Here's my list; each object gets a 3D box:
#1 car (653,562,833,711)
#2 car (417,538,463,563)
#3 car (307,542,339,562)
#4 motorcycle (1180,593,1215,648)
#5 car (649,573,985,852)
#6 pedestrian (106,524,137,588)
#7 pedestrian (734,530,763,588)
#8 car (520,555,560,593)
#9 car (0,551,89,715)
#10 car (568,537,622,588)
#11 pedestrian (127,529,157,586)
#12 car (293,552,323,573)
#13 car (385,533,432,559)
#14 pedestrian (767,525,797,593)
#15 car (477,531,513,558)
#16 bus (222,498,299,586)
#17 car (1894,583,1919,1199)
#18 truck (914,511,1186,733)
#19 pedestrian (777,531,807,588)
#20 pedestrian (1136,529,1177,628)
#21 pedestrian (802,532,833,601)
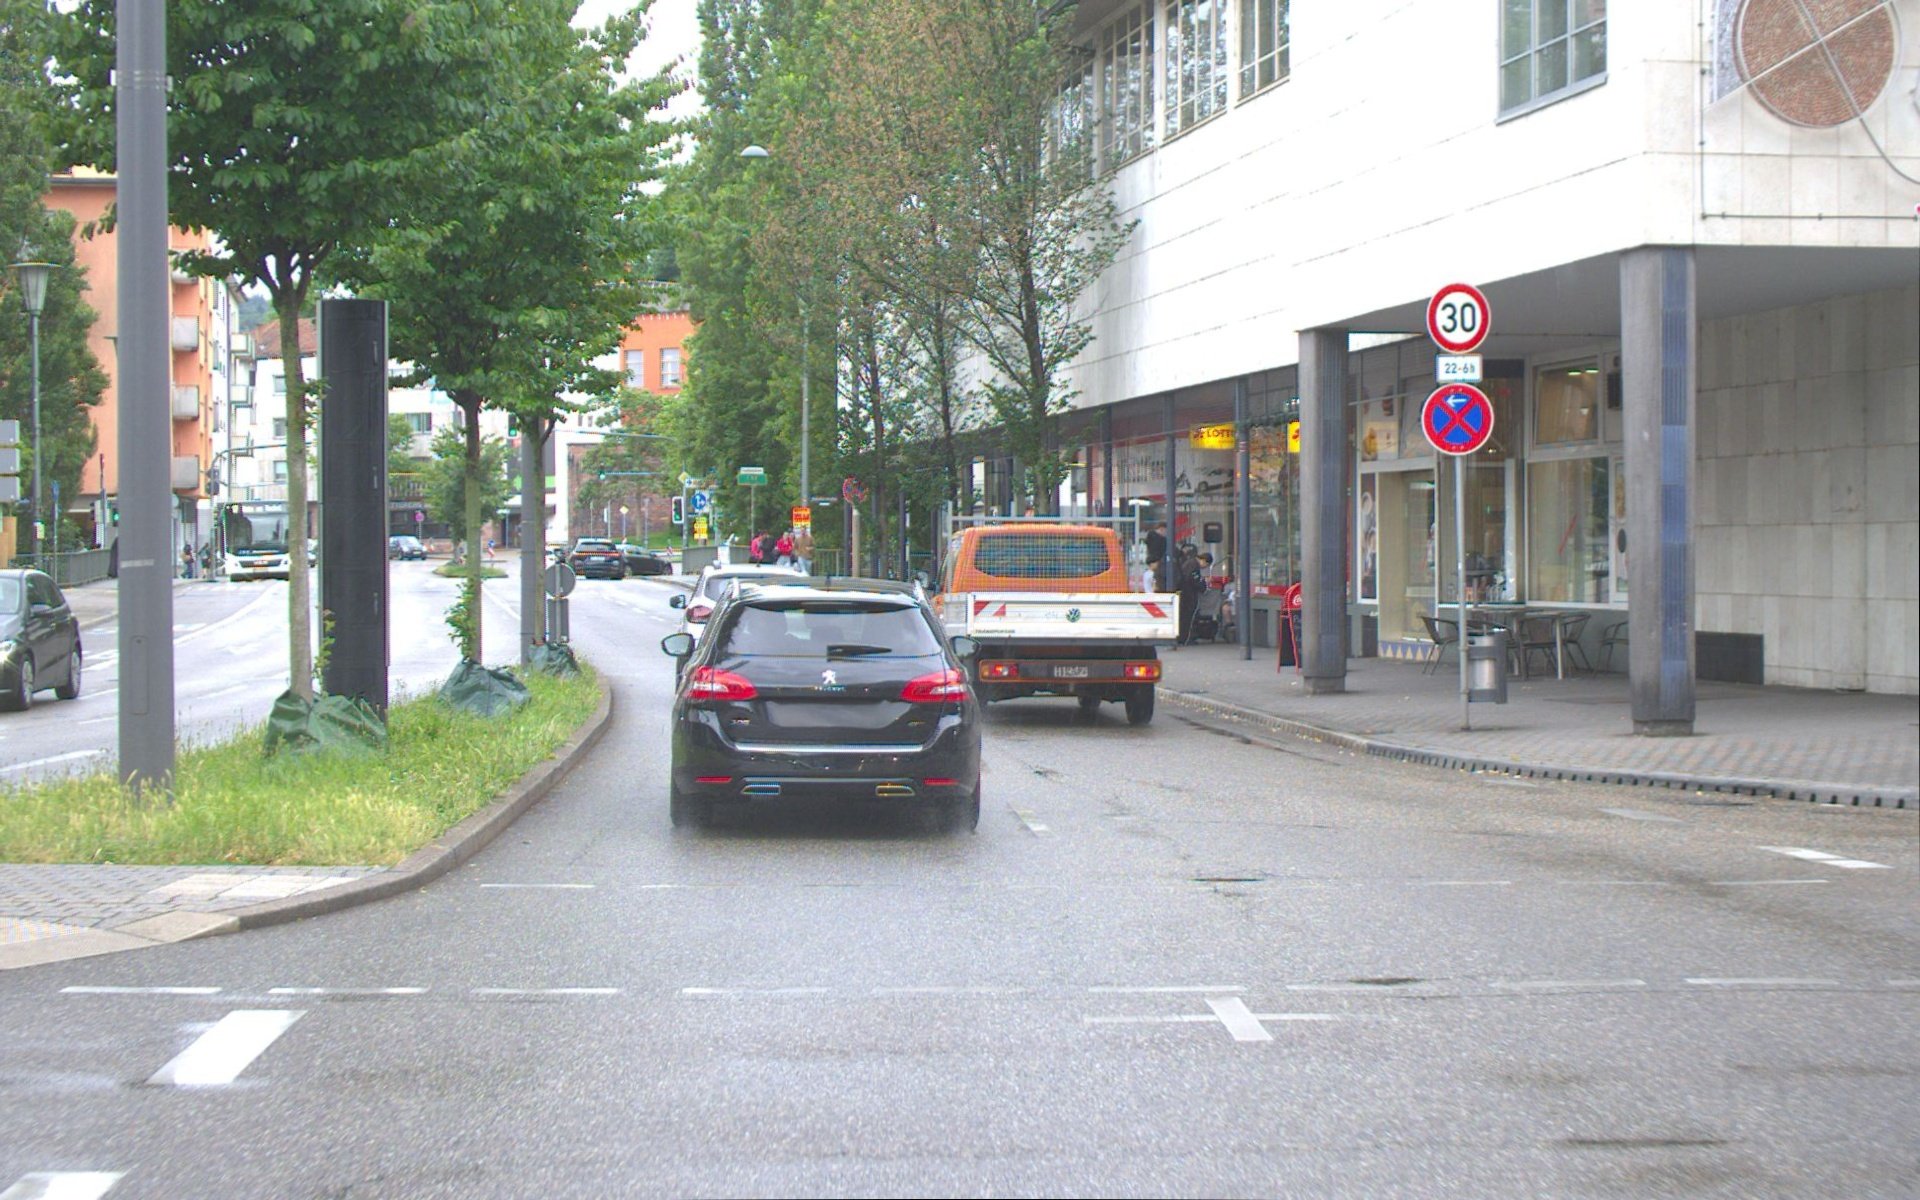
[{"bbox_3d":[-2.305,0.345,36.442,1.794,1.478,4.001,0,1,-4],"label":"car"},{"bbox_3d":[-35.127,-3.325,232.320,1.645,1.559,3.600,4,-2,-34],"label":"car"},{"bbox_3d":[-41.864,-3.176,225.926,1.791,1.320,4.408,0,1,-14],"label":"car"},{"bbox_3d":[3.600,0.305,52.193,0.324,0.801,0.920,-1,2,-9],"label":"motorcycle"},{"bbox_3d":[-0.794,0.618,20.760,1.795,1.478,4.000,2,0,0],"label":"car"},{"bbox_3d":[-24.000,-1.256,98.426,0.698,1.788,0.959,1,0,-6],"label":"pedestrian"},{"bbox_3d":[-5.997,-1.158,97.414,0.717,1.614,0.769,-2,1,-9],"label":"pedestrian"},{"bbox_3d":[-19.401,-1.185,158.721,1.644,1.559,3.600,3,-2,-9],"label":"car"},{"bbox_3d":[-11.049,0.356,38.431,1.827,1.730,4.259,-2,1,-5],"label":"car"},{"bbox_3d":[-12.780,-1.292,120.210,1.644,1.559,3.600,3,-2,-9],"label":"car"},{"bbox_3d":[-25.877,-1.330,108.738,0.797,1.788,0.812,1,0,-7],"label":"pedestrian"},{"bbox_3d":[-41.540,-2.414,219.114,1.791,1.320,4.408,0,1,-10],"label":"car"},{"bbox_3d":[-36.614,-3.559,228.074,1.645,1.559,3.600,4,-2,-34],"label":"car"},{"bbox_3d":[-4.690,-1.081,90.572,0.653,1.761,0.923,-2,1,-9],"label":"pedestrian"},{"bbox_3d":[-29.920,-3.564,221.168,1.993,1.678,4.001,0,1,-12],"label":"car"},{"bbox_3d":[-26.311,-2.266,129.607,2.743,3.065,12.241,0,2,-11],"label":"bus"},{"bbox_3d":[3.084,0.732,5.939,1.708,1.452,3.743,2,1,-3],"label":"car"},{"bbox_3d":[0.809,0.212,34.238,2.121,2.018,4.716,1,0,-5],"label":"truck"},{"bbox_3d":[-4.746,-1.155,97.050,0.725,1.584,0.607,-2,1,-9],"label":"pedestrian"},{"bbox_3d":[3.138,-0.343,54.820,0.430,1.561,0.508,0,1,37],"label":"pedestrian"},{"bbox_3d":[-3.753,-0.890,90.692,0.698,1.795,0.607,-2,1,-9],"label":"pedestrian"}]
